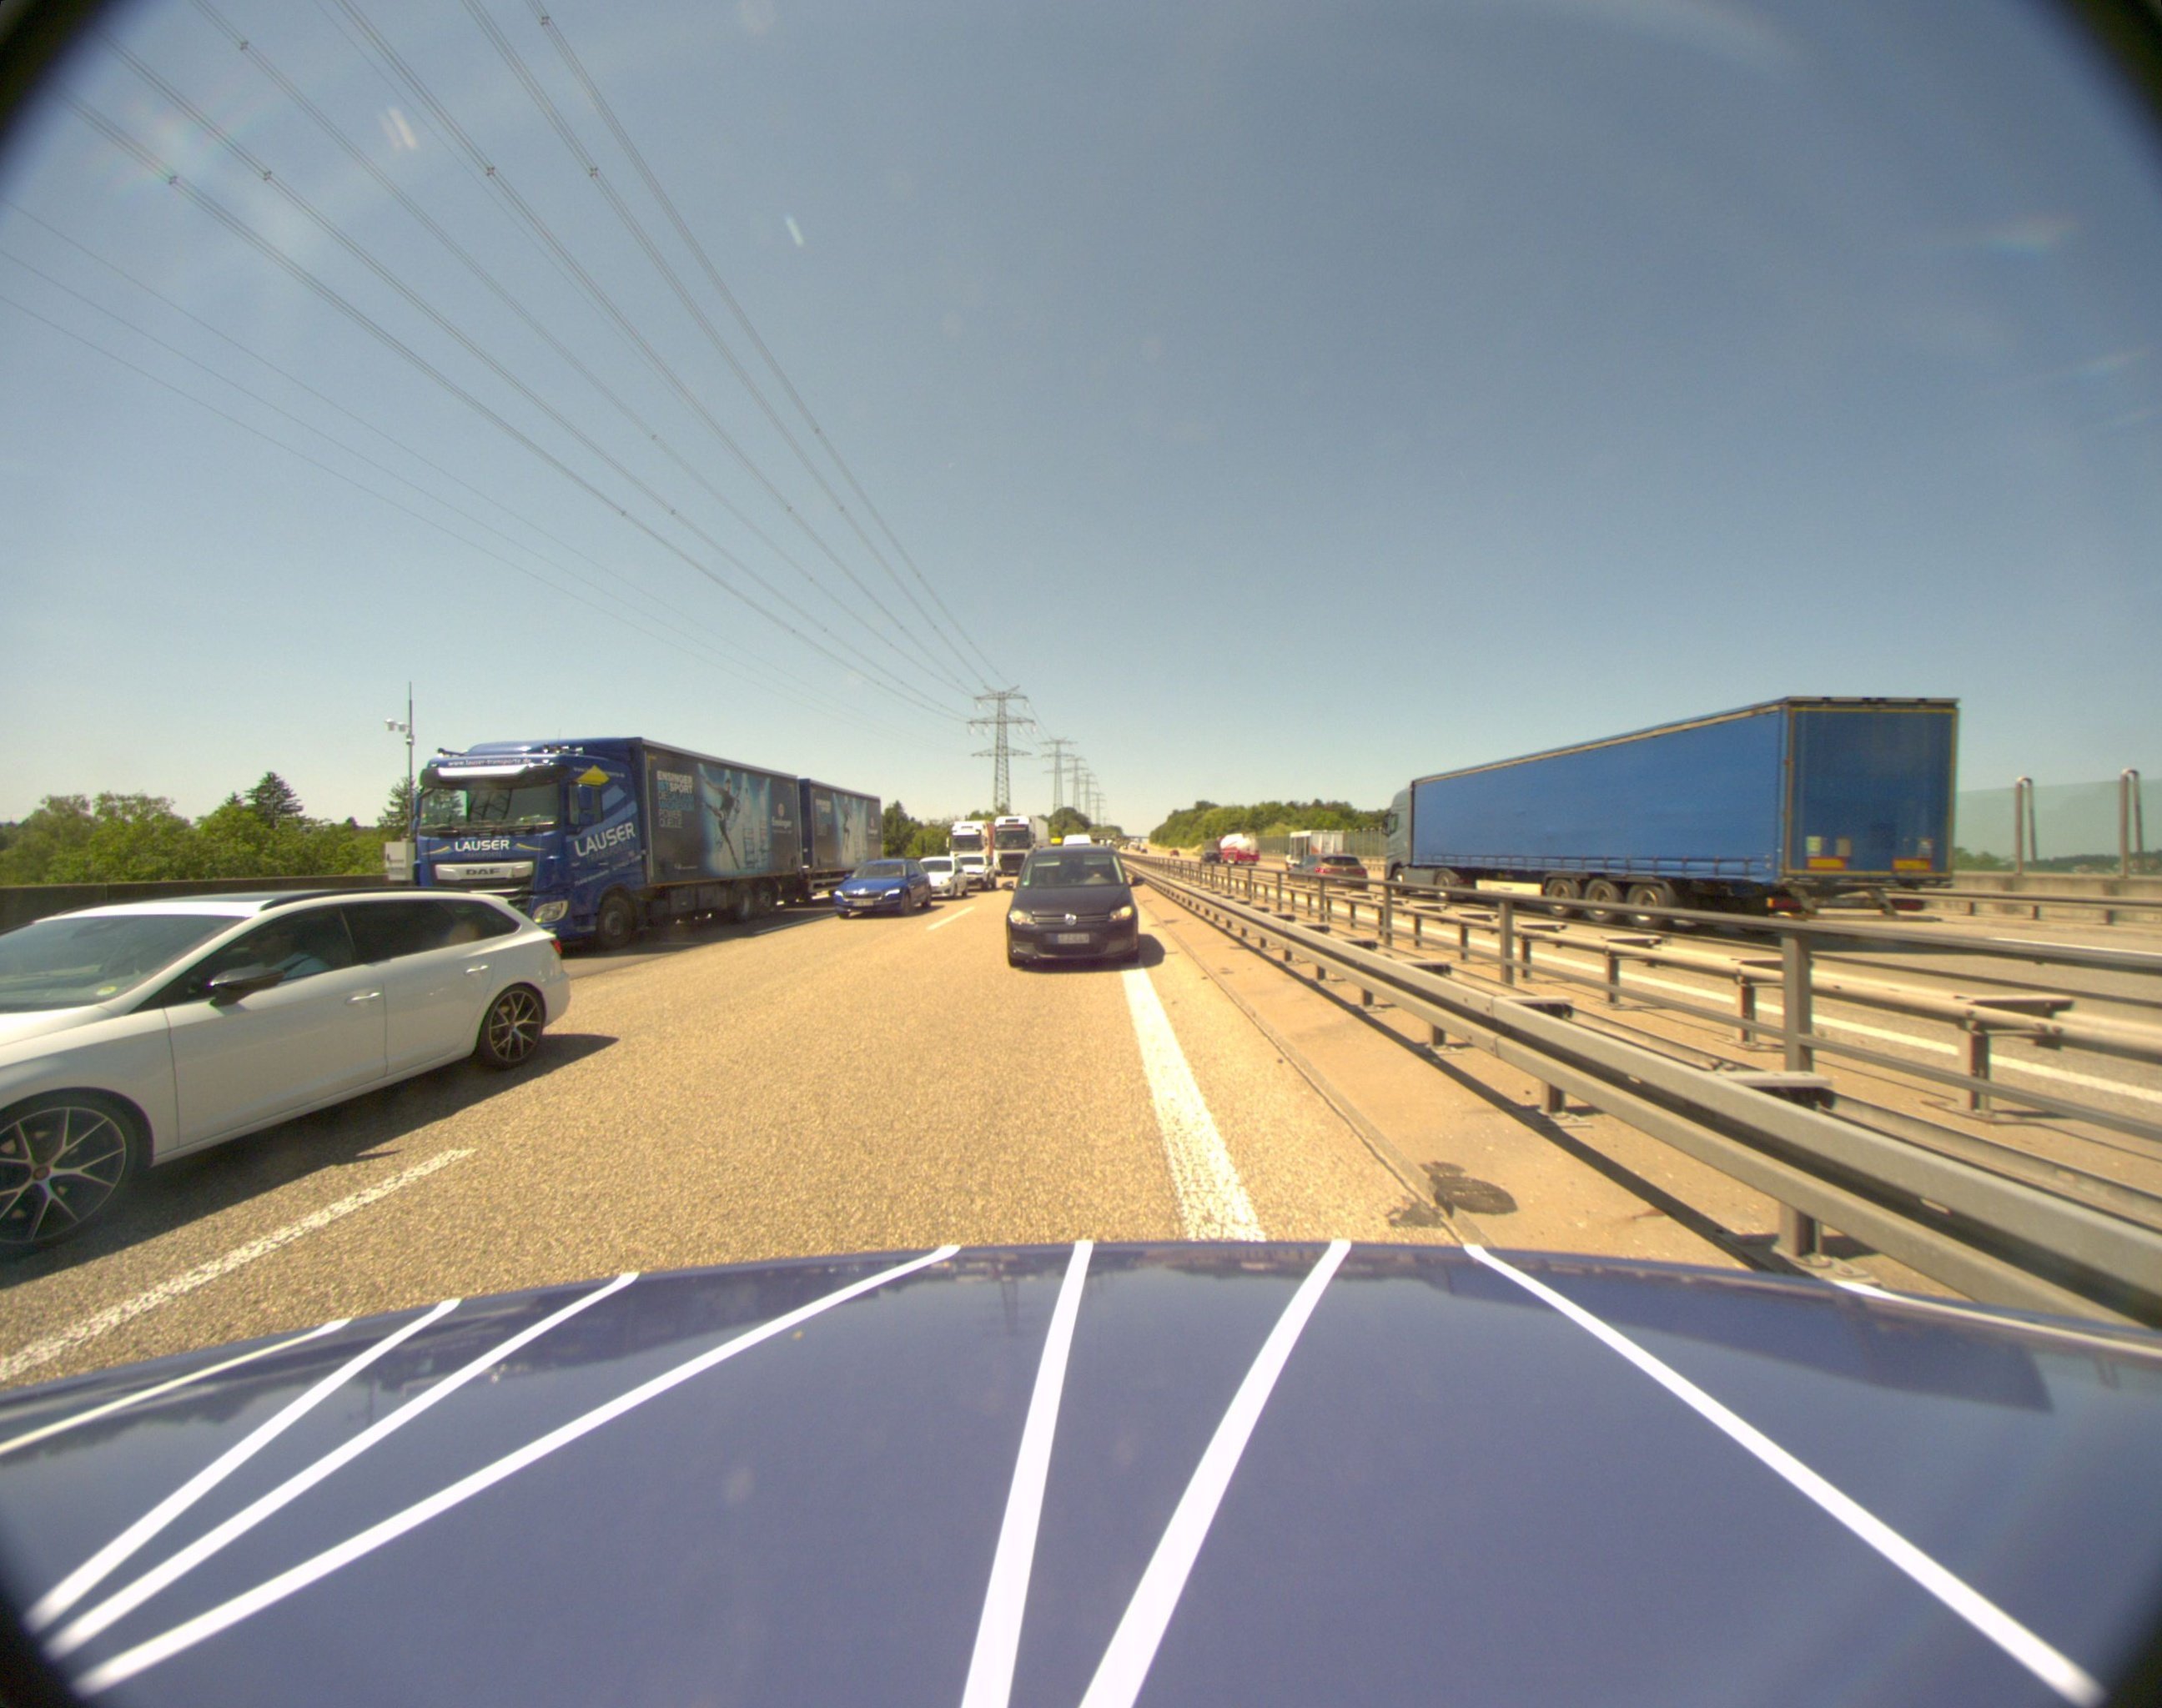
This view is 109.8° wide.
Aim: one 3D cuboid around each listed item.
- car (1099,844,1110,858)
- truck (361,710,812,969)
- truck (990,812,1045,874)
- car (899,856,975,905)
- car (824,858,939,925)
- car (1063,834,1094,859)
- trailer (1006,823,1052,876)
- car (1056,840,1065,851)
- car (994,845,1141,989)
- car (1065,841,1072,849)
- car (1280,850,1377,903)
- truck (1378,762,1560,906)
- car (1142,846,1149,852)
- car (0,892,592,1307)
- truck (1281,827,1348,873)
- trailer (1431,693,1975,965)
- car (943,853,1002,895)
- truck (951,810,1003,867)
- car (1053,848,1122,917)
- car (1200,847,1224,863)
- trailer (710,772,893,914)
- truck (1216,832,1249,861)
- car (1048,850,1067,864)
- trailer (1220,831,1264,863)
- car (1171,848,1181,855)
[{"bbox_3d":[3.814,-0.500,125.643,1.704,2.116,3.999,-2,1,1],"label":"car"},{"bbox_3d":[-9.549,-0.298,17.035,2.859,3.927,10.393,-2,1,2],"label":"truck"},{"bbox_3d":[-4.214,-0.752,52.299,2.849,3.804,8.263,-2,1,1],"label":"truck"},{"bbox_3d":[-4.924,0.853,26.592,1.712,1.443,4.144,-2,1,2],"label":"car"},{"bbox_3d":[-5.228,0.918,20.570,1.712,1.443,4.563,-2,1,2],"label":"car"},{"bbox_3d":[-0.111,-0.527,50.847,1.924,1.501,3.996,-2,1,2],"label":"car"},{"bbox_3d":[-4.003,-0.404,60.962,2.822,3.830,9.083,-2,1,1],"label":"trailer"},{"bbox_3d":[-4.506,-1.877,168.499,1.704,2.525,3.999,2,1,1],"label":"car"},{"bbox_3d":[-0.131,0.742,11.169,1.712,1.669,3.931,-2,1,1],"label":"car"},{"bbox_3d":[-3.188,-2.352,195.912,1.704,2.116,3.999,2,1,1],"label":"car"},{"bbox_3d":[8.388,0.696,26.141,1.886,1.543,4.188,-2,1,0],"label":"car"},{"bbox_3d":[12.265,-0.607,24.761,2.760,4.093,6.264,0,1,1],"label":"truck"},{"bbox_3d":[18.194,-1.402,215.981,1.704,1.412,3.999,2,1,1],"label":"car"},{"bbox_3d":[-5.118,1.089,4.322,1.713,1.443,4.429,-2,0,0],"label":"car"},{"bbox_3d":[17.313,-0.343,57.007,2.569,3.170,8.292,2,1,1],"label":"truck"},{"bbox_3d":[12.238,-0.475,17.604,2.711,4.142,12.047,0,1,0],"label":"trailer"},{"bbox_3d":[-4.460,0.777,31.847,1.712,1.501,4.144,-2,1,2],"label":"car"},{"bbox_3d":[-7.943,-1.180,58.950,2.608,3.965,8.263,-2,1,1],"label":"truck"},{"bbox_3d":[0.206,0.723,21.494,1.712,1.669,3.931,-2,1,1],"label":"car"},{"bbox_3d":[13.185,0.078,76.752,1.802,1.490,3.851,0,1,1],"label":"car"},{"bbox_3d":[-9.264,-0.389,26.629,2.835,4.066,8.637,-2,1,2],"label":"trailer"},{"bbox_3d":[18.533,-0.901,93.307,2.915,3.395,6.294,1,1,2],"label":"truck"},{"bbox_3d":[-2.705,0.315,87.847,1.924,1.501,3.996,-2,1,2],"label":"car"},{"bbox_3d":[18.317,-0.806,87.218,2.883,3.360,12.006,1,1,2],"label":"trailer"},{"bbox_3d":[20.957,-0.656,167.107,1.786,1.412,3.999,2,1,1],"label":"car"}]
